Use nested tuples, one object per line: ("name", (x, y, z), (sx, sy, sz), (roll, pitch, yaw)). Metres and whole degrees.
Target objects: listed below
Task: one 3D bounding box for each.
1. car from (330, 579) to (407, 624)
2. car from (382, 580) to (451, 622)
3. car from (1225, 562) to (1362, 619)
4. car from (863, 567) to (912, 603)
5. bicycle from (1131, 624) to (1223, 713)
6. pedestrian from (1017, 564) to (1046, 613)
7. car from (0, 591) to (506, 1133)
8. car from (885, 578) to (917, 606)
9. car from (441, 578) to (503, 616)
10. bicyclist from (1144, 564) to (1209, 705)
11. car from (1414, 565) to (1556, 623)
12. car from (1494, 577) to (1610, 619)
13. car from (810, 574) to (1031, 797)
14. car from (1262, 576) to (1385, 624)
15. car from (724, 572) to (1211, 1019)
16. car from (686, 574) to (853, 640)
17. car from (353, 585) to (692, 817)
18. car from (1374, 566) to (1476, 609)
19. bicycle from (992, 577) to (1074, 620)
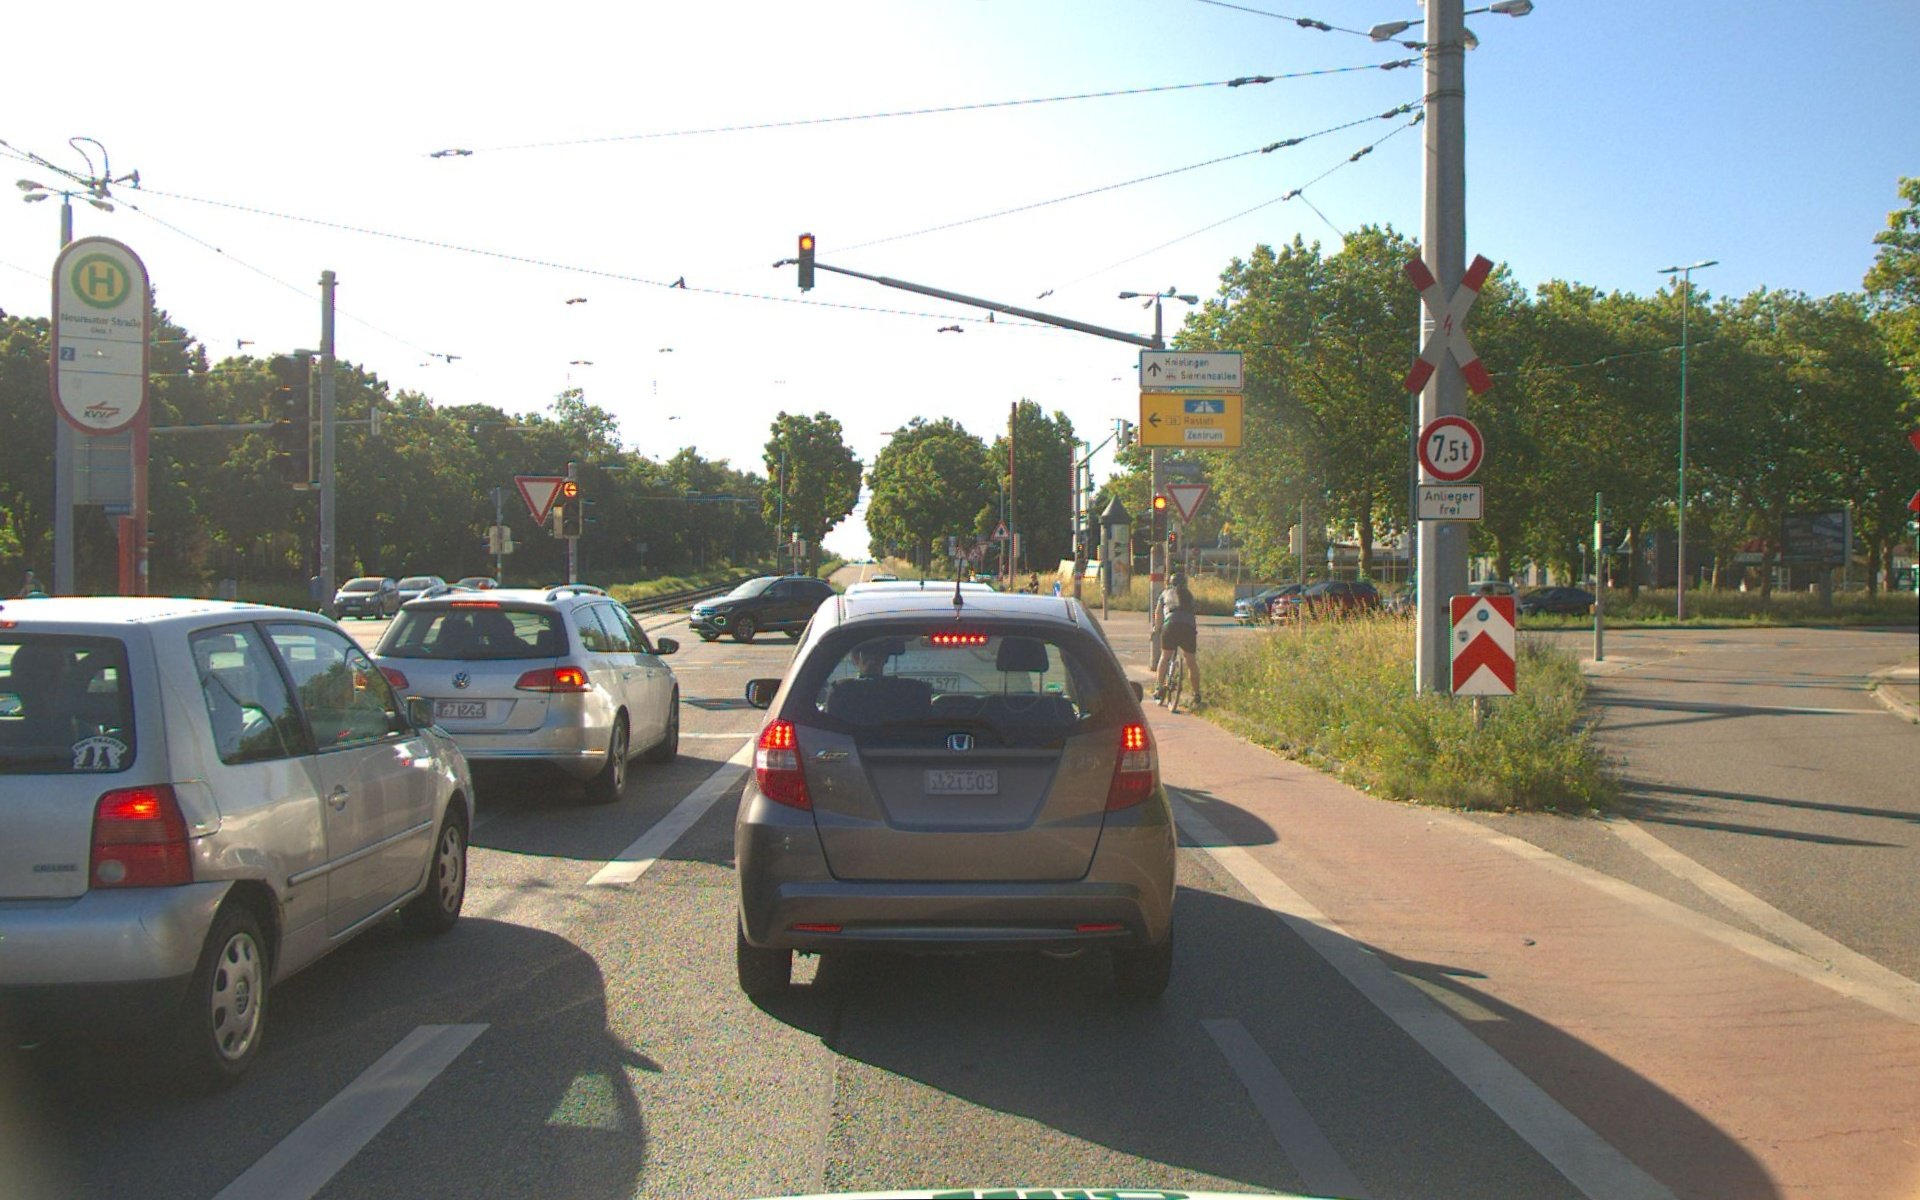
("car", (-21.316, 0.041, 59.749), (1.798, 1.575, 3.993), (0, 0, -8))
("car", (-21.484, 0.024, 65.537), (1.798, 1.575, 4.277), (0, 0, -8))
("car", (12.177, -0.327, 60.449), (4.626, 1.912, 1.985), (2, 0, -24))
("car", (-3.058, -0.641, 70.714), (1.674, 1.504, 4.002), (0, 0, 4))
("bicycle", (2.755, 0.844, 21.284), (0.707, 1.006, 2.875), (1, 0, -2))
("pedestrian", (2.731, -0.444, 62.936), (0.842, 1.868, 0.784), (0, 0, -26))
("car", (-2.894, 0.708, 6.086), (1.586, 1.442, 3.350), (0, 0, -1))
("car", (-3.156, -0.421, 87.489), (1.493, 1.403, 3.672), (0, 0, -5))
("car", (-21.733, -0.160, 73.786), (1.956, 1.632, 4.746), (1, 1, -8))
("bicyclist", (2.767, 0.431, 21.205), (0.652, 1.746, 0.948), (1, 0, -2))
("car", (19.022, -0.226, 59.885), (4.823, 2.049, 1.985), (0, 0, -24))
("car", (23.592, -0.098, 65.870), (4.450, 1.601, 1.681), (0, 0, -24))
("car", (-0.332, 0.603, 13.987), (1.578, 1.589, 4.287), (0, 0, -1))
("car", (12.359, -0.012, 56.164), (3.934, 1.557, 1.594), (-1, 1, -24))
("car", (-0.061, 0.644, 7.356), (1.635, 1.487, 3.584), (0, 0, -3))
("car", (-4.779, 0.145, 41.640), (3.936, 1.571, 1.573), (-1, 0, -34))
("car", (-3.153, 0.658, 12.726), (1.586, 1.482, 4.084), (1, 0, -1))
("car", (17.849, -0.483, 63.475), (3.694, 1.597, 1.480), (0, 0, -24))
("bicycle", (2.786, -0.070, 62.950), (3.164, 1.602, 0.814), (0, 0, -26))
